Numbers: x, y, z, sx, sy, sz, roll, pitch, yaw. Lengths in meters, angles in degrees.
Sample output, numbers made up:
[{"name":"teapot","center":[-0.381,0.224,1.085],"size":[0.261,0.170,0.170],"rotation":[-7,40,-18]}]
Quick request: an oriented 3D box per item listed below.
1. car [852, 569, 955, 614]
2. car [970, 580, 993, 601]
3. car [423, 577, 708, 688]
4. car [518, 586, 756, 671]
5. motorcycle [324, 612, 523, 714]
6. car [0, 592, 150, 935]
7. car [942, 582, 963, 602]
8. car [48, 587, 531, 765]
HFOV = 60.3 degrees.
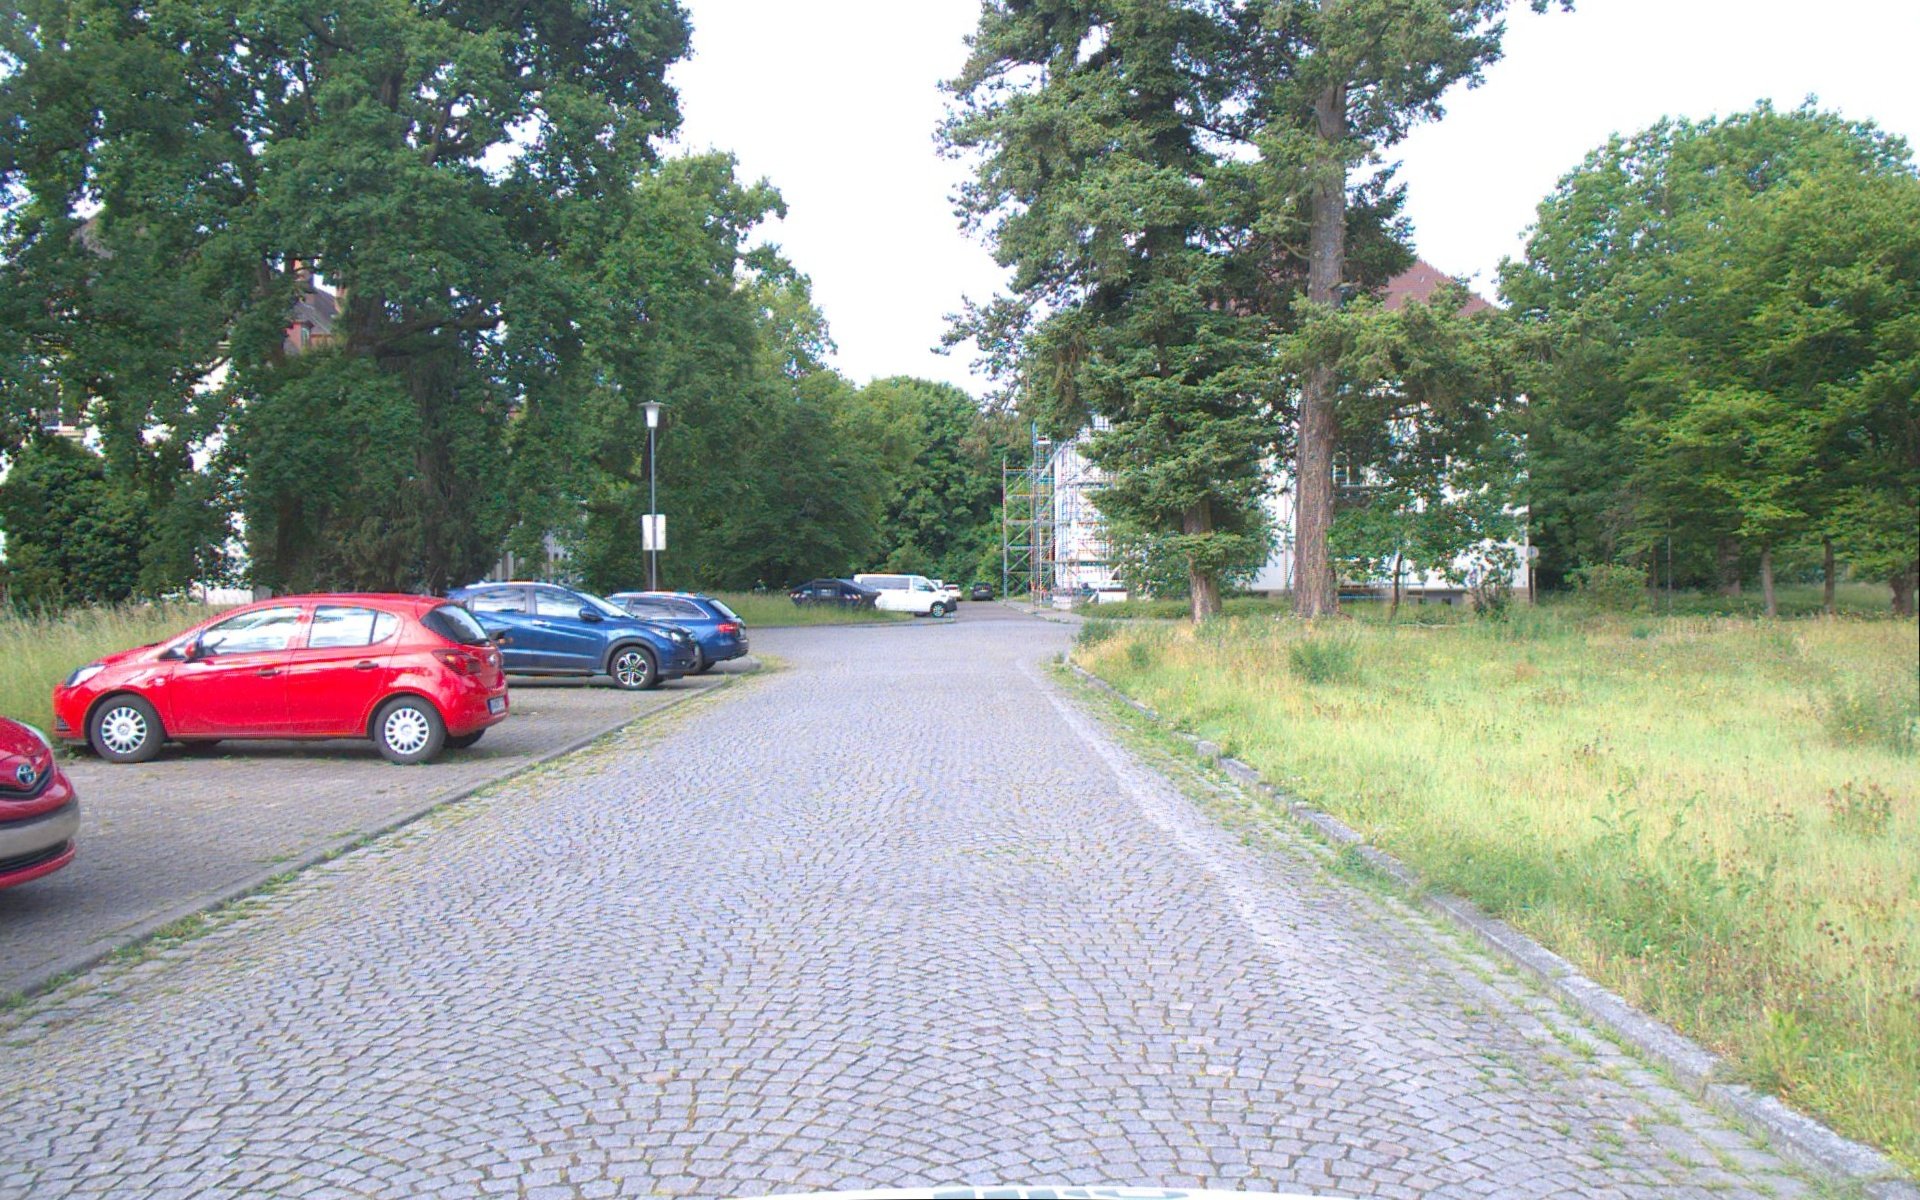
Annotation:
[{"name":"car","center":[-2.689,-0.377,79.318],"size":[4.877,2.109,2.051],"rotation":[0,-1,-2]},{"name":"car","center":[1.882,-0.793,145.742],"size":[1.754,1.750,4.059],"rotation":[-1,-1,-2]},{"name":"car","center":[-6.020,0.477,25.606],"size":[3.989,1.632,1.787],"rotation":[0,1,-2]},{"name":"car","center":[-5.864,0.504,30.305],"size":[3.986,1.492,1.626],"rotation":[0,1,3]},{"name":"motorcycle","center":[-6.441,0.749,19.915],"size":[2.180,1.179,0.647],"rotation":[-1,0,2]},{"name":"car","center":[-6.147,0.734,7.827],"size":[3.738,1.512,1.761],"rotation":[0,1,-1]},{"name":"car","center":[-0.685,-0.711,145.387],"size":[1.754,1.665,4.059],"rotation":[-1,-1,-2]},{"name":"car","center":[-6.089,0.654,15.355],"size":[3.738,1.515,1.787],"rotation":[0,1,-2]}]
